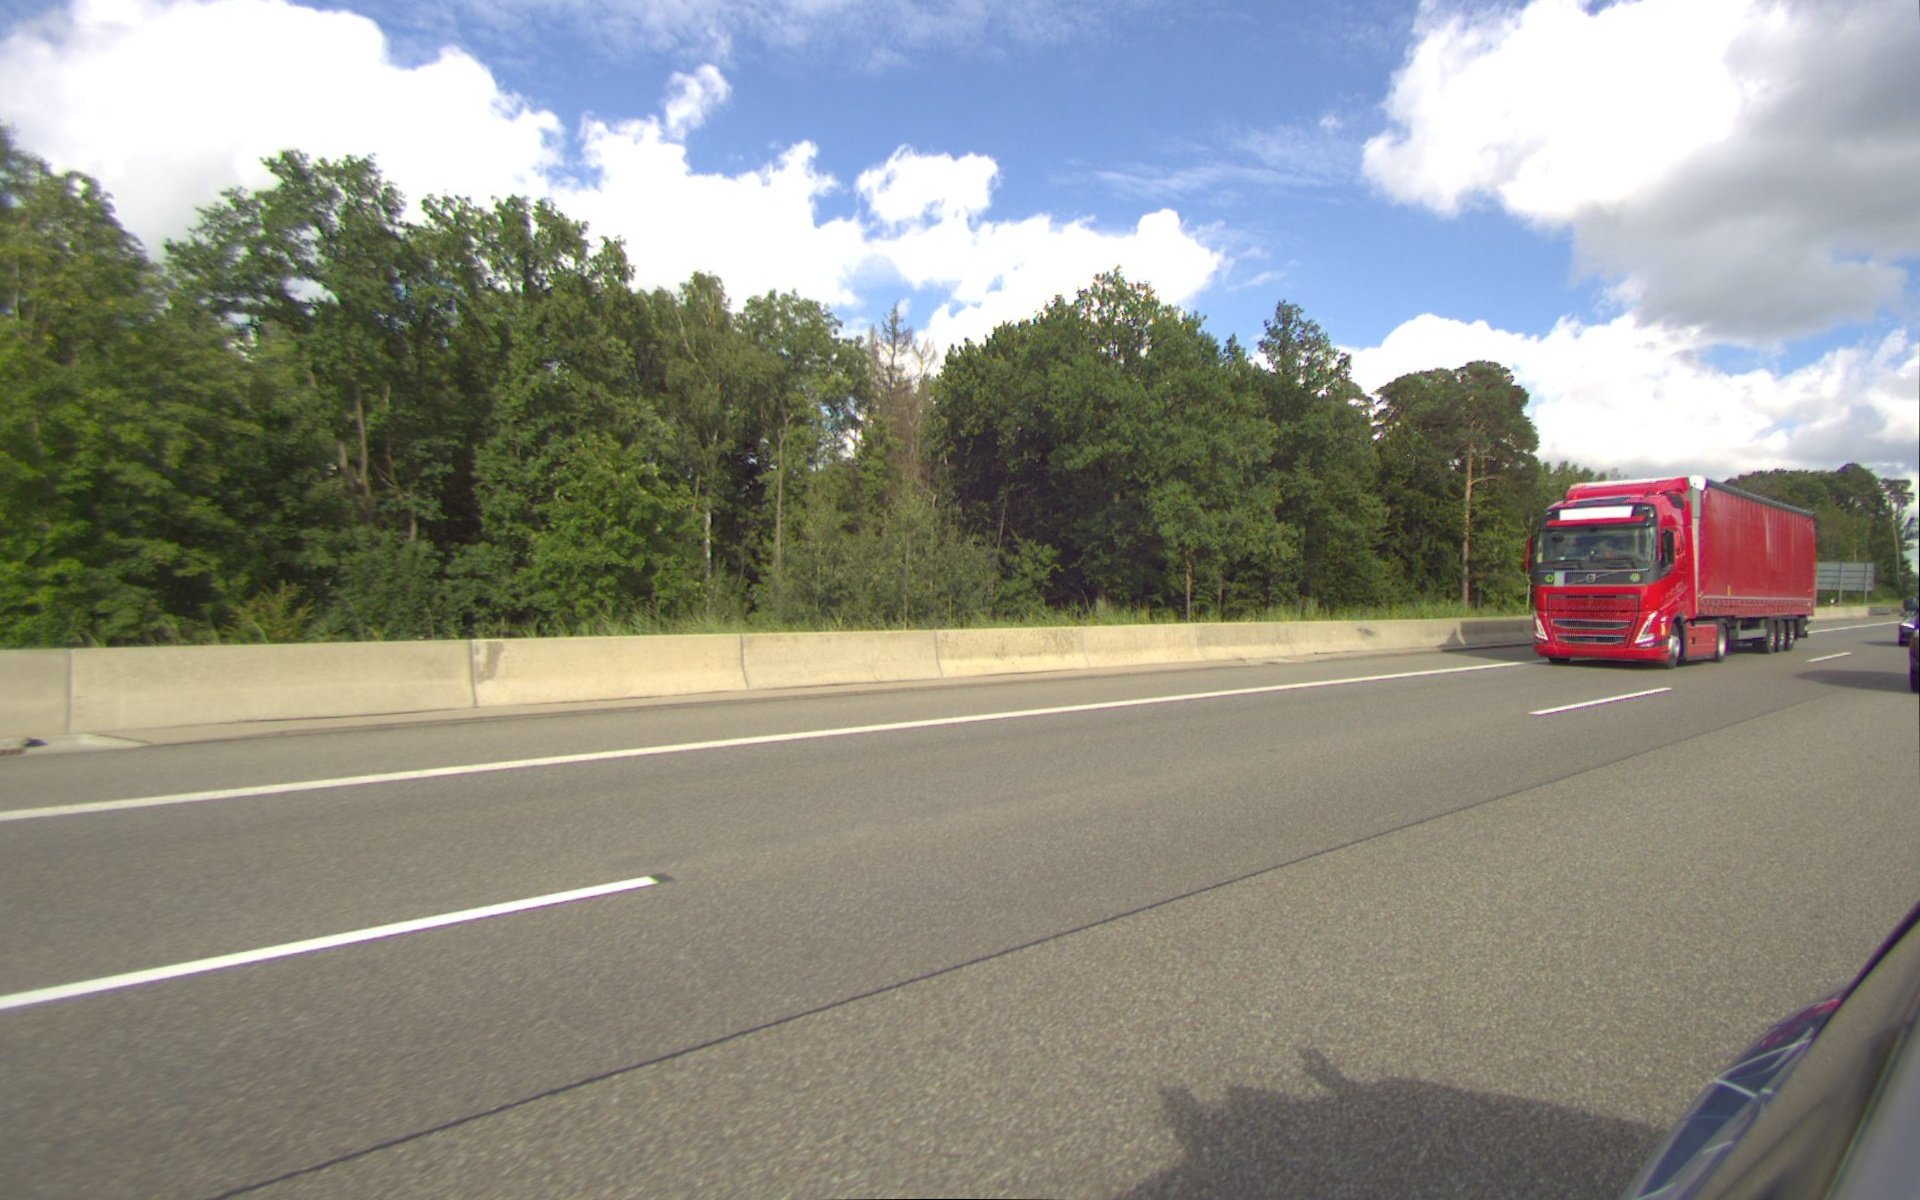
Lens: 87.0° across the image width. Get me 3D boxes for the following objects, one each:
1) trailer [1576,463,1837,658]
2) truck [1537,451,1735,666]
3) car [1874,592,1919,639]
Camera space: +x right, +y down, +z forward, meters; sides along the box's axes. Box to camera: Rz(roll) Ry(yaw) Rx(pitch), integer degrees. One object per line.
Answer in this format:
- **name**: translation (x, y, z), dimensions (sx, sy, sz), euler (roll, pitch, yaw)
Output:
- **trailer**: translation (20.574, -0.882, 27.250), dimensions (14.124, 4.171, 2.529), euler (0, 1, -41)
- **truck**: translation (15.109, -0.851, 22.541), dimensions (4.572, 4.255, 2.530), euler (0, 0, -41)
- **car**: translation (31.479, 0.475, 33.021), dimensions (3.930, 1.460, 1.997), euler (-1, 1, -41)
